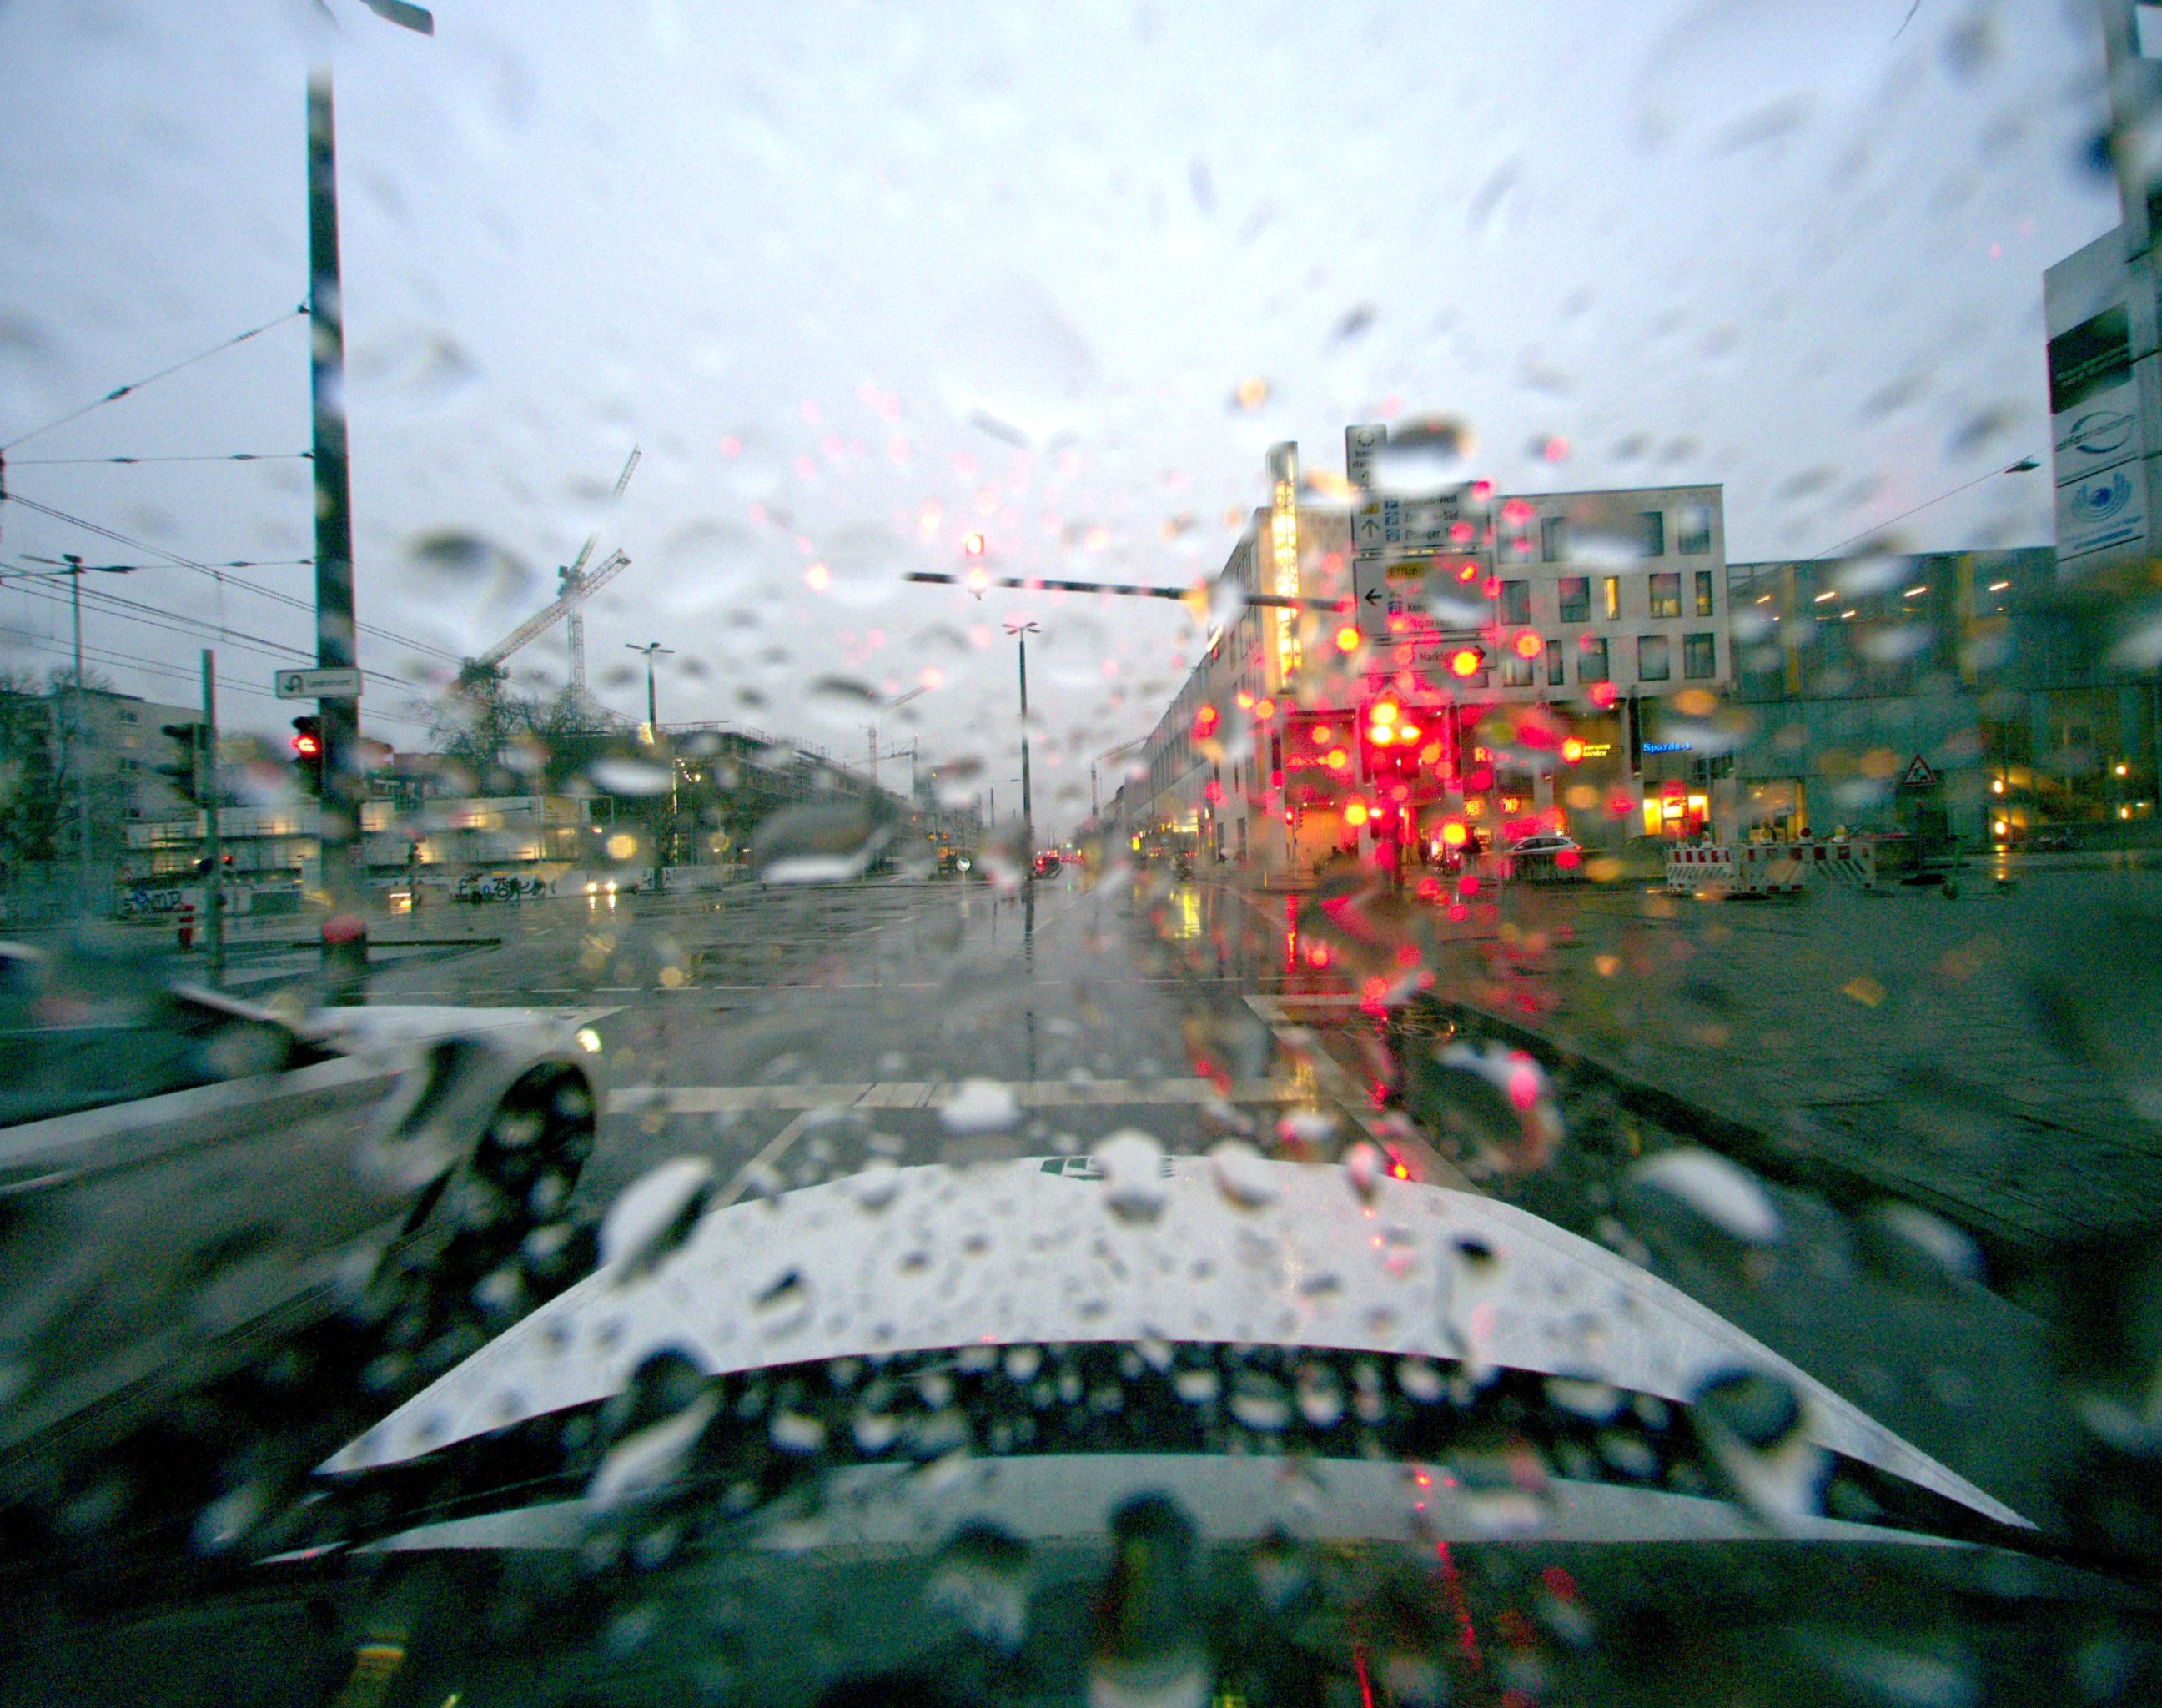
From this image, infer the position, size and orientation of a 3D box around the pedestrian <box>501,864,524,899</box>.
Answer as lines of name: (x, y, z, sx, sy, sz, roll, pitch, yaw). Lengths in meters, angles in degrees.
pedestrian: (-33.551, 1.608, 48.076, 0.792, 2.014, 0.745, -2, -1, -9)

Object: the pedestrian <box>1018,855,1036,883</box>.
pedestrian: (-3.110, 0.860, 46.664, 0.808, 1.619, 0.542, -3, -1, 39)

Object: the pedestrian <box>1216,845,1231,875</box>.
pedestrian: (8.522, 0.346, 48.721, 0.700, 1.760, 0.668, -2, 0, 1)

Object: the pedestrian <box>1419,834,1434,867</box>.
pedestrian: (18.194, -0.197, 42.935, 0.530, 1.685, 0.552, -3, -1, 39)

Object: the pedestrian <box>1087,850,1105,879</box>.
pedestrian: (0.886, 0.631, 48.480, 0.836, 1.688, 0.680, -2, 0, 17)

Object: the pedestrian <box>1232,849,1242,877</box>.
pedestrian: (9.898, 0.584, 51.695, 0.510, 1.760, 0.374, -2, 0, 1)

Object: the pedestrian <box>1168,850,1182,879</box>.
pedestrian: (5.745, 0.640, 49.896, 0.700, 1.760, 0.652, -2, 0, 1)

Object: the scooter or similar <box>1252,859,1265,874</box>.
scooter or similar: (11.466, 0.820, 52.526, 0.738, 0.916, 0.401, -2, 0, 3)

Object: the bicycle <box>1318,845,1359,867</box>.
bicycle: (16.288, 0.107, 51.519, 2.420, 1.329, 0.634, -2, 0, -4)

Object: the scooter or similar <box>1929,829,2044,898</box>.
scooter or similar: (15.812, 0.156, 14.260, 0.603, 1.130, 1.236, -2, 0, 2)

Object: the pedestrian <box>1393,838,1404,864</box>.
pedestrian: (21.056, -0.218, 54.010, 0.530, 1.718, 0.505, -3, -1, 39)

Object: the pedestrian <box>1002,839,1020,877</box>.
pedestrian: (-3.867, 0.230, 44.823, 0.691, 2.087, 0.606, -2, -1, -38)

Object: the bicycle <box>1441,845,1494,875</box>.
bicycle: (15.516, 0.242, 32.755, 1.831, 1.093, 0.620, -2, -1, 16)

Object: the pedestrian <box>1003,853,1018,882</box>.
pedestrian: (-4.034, 0.741, 46.563, 0.704, 1.619, 0.613, -2, 0, -1)

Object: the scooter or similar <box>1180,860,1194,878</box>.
scooter or similar: (6.342, 0.895, 48.788, 0.736, 0.993, 0.402, -2, 0, 13)

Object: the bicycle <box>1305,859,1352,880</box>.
bicycle: (11.869, 0.739, 39.113, 2.116, 0.991, 0.543, -1, -1, 7)

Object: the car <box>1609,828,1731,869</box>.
car: (25.500, -0.223, 35.348, 4.037, 1.582, 1.676, -3, -1, -1)

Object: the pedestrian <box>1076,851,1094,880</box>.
pedestrian: (0.229, 0.662, 47.830, 0.824, 1.679, 0.622, -2, 0, 16)

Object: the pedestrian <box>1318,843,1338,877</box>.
pedestrian: (11.862, 0.293, 39.119, 0.810, 1.570, 0.537, -2, 0, 7)

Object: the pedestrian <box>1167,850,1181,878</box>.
pedestrian: (5.607, 0.611, 48.955, 0.736, 1.667, 0.402, -2, 0, 13)

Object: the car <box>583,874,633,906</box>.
car: (-33.557, 2.531, 57.889, 1.757, 2.013, 3.984, -2, 0, -11)

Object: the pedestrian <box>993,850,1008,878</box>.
pedestrian: (-4.746, 0.573, 48.021, 0.704, 1.619, 0.681, -2, 0, 3)

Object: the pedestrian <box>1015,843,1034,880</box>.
pedestrian: (-3.179, 0.417, 45.648, 0.781, 2.013, 0.606, -2, -1, -37)

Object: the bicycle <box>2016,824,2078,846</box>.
bicycle: (48.760, -0.949, 41.135, 0.613, 1.033, 2.138, -2, 0, 3)

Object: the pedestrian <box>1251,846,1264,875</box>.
pedestrian: (10.980, 0.391, 50.630, 0.615, 1.760, 0.482, -2, 0, 1)

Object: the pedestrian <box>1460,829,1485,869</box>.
pedestrian: (15.705, -0.200, 32.694, 0.774, 1.595, 0.616, -2, 0, 17)

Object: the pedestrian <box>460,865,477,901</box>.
pedestrian: (-35.174, 1.686, 46.756, 0.507, 2.014, 0.638, -3, -3, -9)

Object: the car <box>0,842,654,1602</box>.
car: (-3.139, 0.772, 1.592, 1.903, 1.520, 4.924, -2, 0, 1)

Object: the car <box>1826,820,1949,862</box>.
car: (34.432, -0.543, 34.836, 3.558, 1.582, 1.676, -3, -1, -1)

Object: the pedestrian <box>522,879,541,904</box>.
pedestrian: (-35.432, 2.421, 52.498, 0.642, 1.529, 0.796, -3, -1, -1)

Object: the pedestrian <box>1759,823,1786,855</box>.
pedestrian: (36.220, -0.776, 42.666, 0.791, 1.631, 0.709, -1, -1, 2)

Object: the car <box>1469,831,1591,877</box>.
car: (19.359, -0.014, 35.263, 4.283, 1.761, 1.709, -2, 0, 4)

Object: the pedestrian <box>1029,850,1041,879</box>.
pedestrian: (-2.776, 0.623, 49.114, 0.617, 1.746, 0.612, -2, 0, -4)
